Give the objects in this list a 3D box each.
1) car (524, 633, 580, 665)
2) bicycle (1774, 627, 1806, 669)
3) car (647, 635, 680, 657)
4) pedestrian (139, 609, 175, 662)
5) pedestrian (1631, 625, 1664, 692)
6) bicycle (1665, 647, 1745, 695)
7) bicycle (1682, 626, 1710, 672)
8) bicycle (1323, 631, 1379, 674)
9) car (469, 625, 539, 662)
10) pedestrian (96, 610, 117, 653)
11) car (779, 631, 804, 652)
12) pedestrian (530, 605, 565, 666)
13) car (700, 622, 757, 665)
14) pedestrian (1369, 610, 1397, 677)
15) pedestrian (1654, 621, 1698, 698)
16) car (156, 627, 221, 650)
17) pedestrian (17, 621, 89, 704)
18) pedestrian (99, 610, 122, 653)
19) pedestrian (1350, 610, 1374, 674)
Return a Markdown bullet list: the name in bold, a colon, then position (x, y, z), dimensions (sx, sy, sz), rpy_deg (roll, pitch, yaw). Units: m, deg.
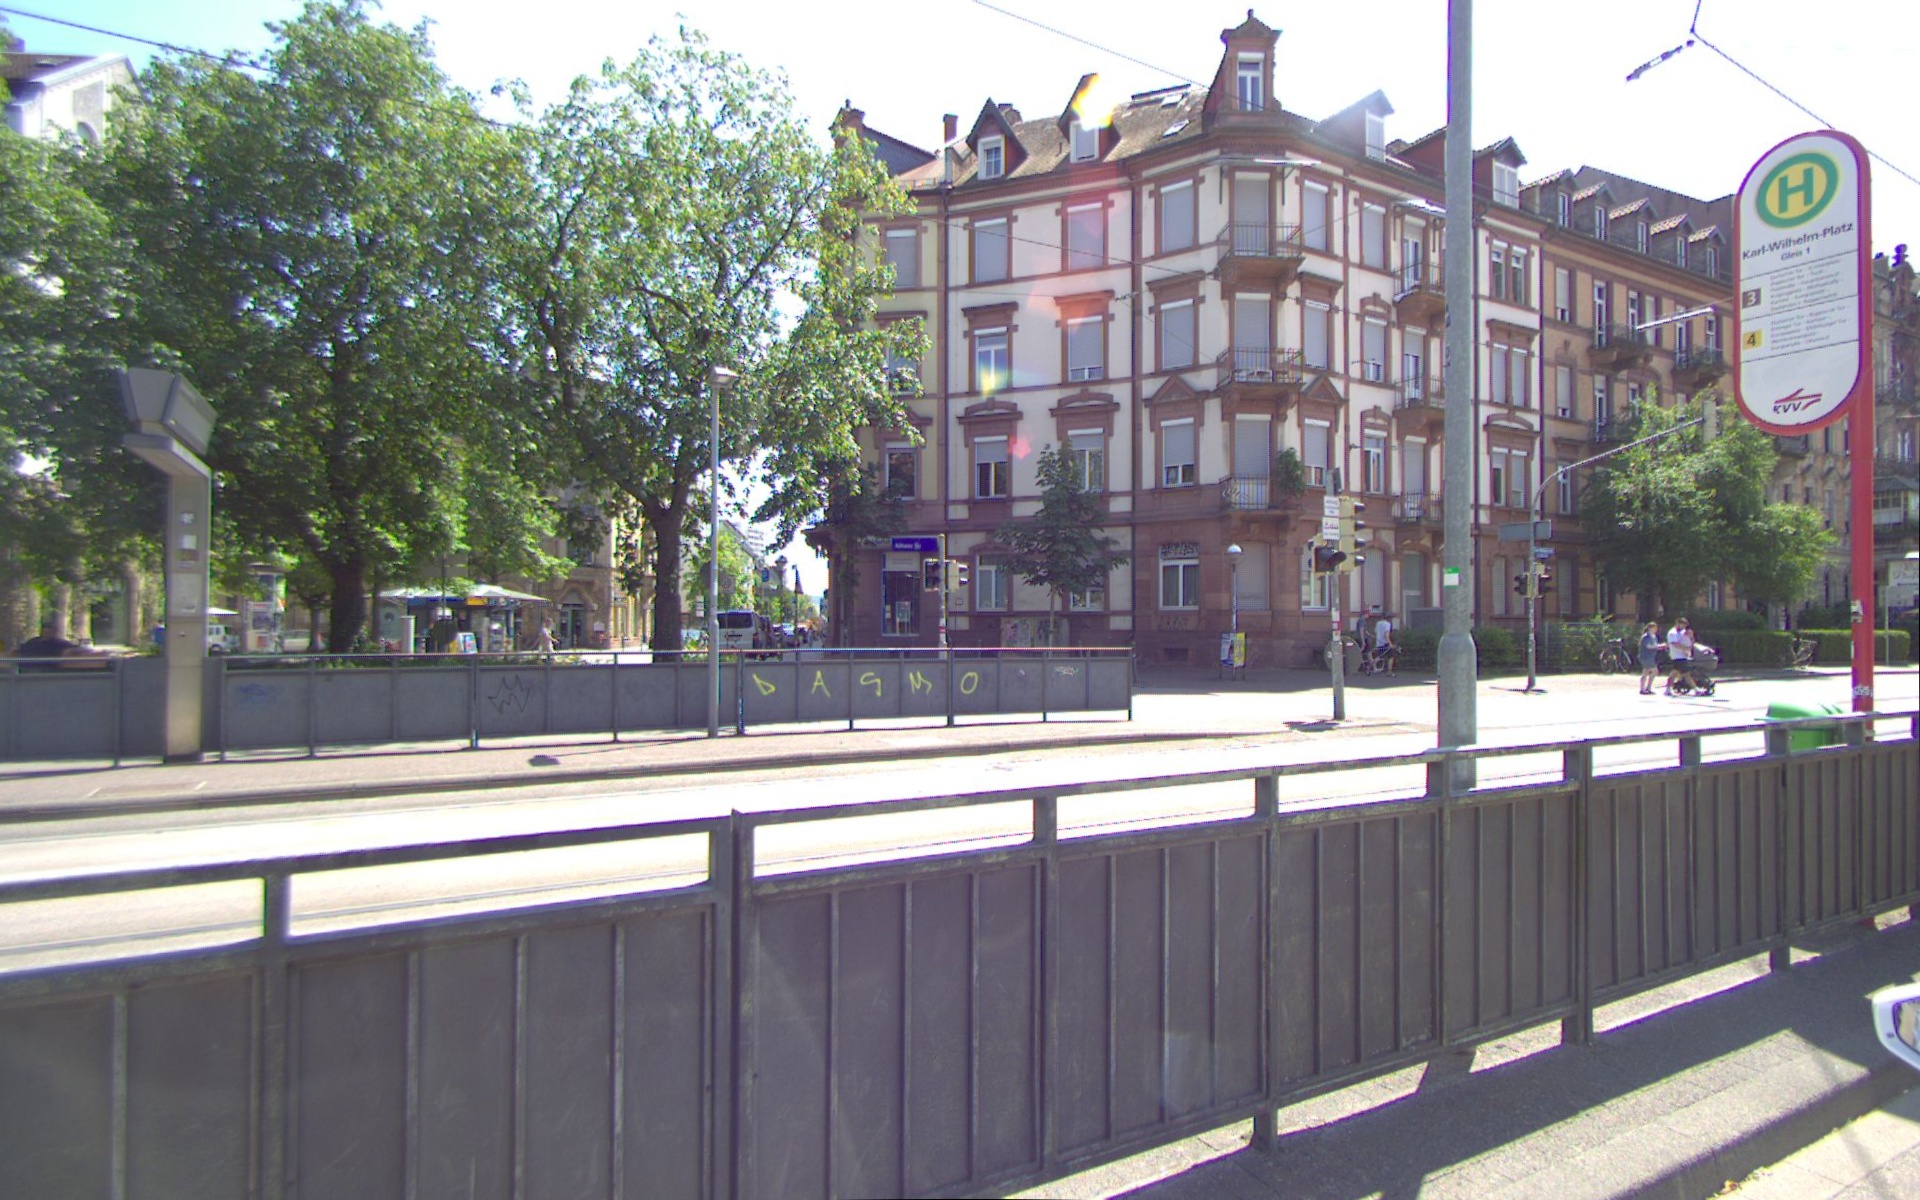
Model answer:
- **car**: position (-20.329, 2.426, 50.168), dimensions (1.512, 1.461, 3.739), rpy_deg (1, -1, -5)
- **bicycle**: position (28.488, 1.636, 34.508), dimensions (0.583, 1.374, 2.434), rpy_deg (0, -1, 34)
- **car**: position (-20.950, 3.237, 71.063), dimensions (1.513, 1.461, 3.738), rpy_deg (1, -1, -6)
- **pedestrian**: position (-27.182, 1.201, 34.003), dimensions (0.703, 1.774, 0.616), rpy_deg (1, -1, -6)
- **pedestrian**: position (16.021, 1.357, 23.414), dimensions (0.497, 1.536, 0.469), rpy_deg (1, -1, 18)
- **bicycle**: position (16.648, 1.574, 22.460), dimensions (1.375, 1.027, 0.389), rpy_deg (0, -1, 21)
- **bicycle**: position (23.552, 1.543, 32.146), dimensions (0.606, 1.414, 2.301), rpy_deg (0, -1, 34)
- **bicycle**: position (11.577, 1.546, 29.731), dimensions (1.494, 1.185, 0.364), rpy_deg (1, 0, 34)
- **car**: position (-19.158, 1.806, 42.343), dimensions (1.512, 1.461, 3.739), rpy_deg (1, -1, -5)
- **pedestrian**: position (-32.918, 1.215, 38.747), dimensions (0.520, 1.644, 0.493), rpy_deg (1, -1, -30)
- **car**: position (-12.519, 3.053, 74.812), dimensions (1.512, 1.461, 3.739), rpy_deg (1, -1, -5)
- **pedestrian**: position (-13.904, 1.195, 33.868), dimensions (0.797, 2.040, 0.716), rpy_deg (0, -1, 9)
- **car**: position (-8.426, 1.563, 36.819), dimensions (1.512, 1.461, 3.739), rpy_deg (1, -1, -5)
- **pedestrian**: position (11.901, 1.220, 28.245), dimensions (0.556, 1.849, 0.632), rpy_deg (0, -1, 39)
- **pedestrian**: position (15.718, 1.292, 22.060), dimensions (0.641, 1.637, 0.469), rpy_deg (1, 2, 18)
- **car**: position (-31.115, 1.550, 40.529), dimensions (0.847, 0.876, 1.910), rpy_deg (0, -1, 35)
- **pedestrian**: position (-14.702, 1.001, 16.288), dimensions (0.607, 1.304, 0.646), rpy_deg (1, -1, 21)
- **pedestrian**: position (-33.194, 1.220, 39.244), dimensions (0.554, 1.644, 0.510), rpy_deg (1, -1, -30)
- **pedestrian**: position (11.593, 1.202, 28.931), dimensions (0.500, 1.791, 0.527), rpy_deg (0, -1, 39)
